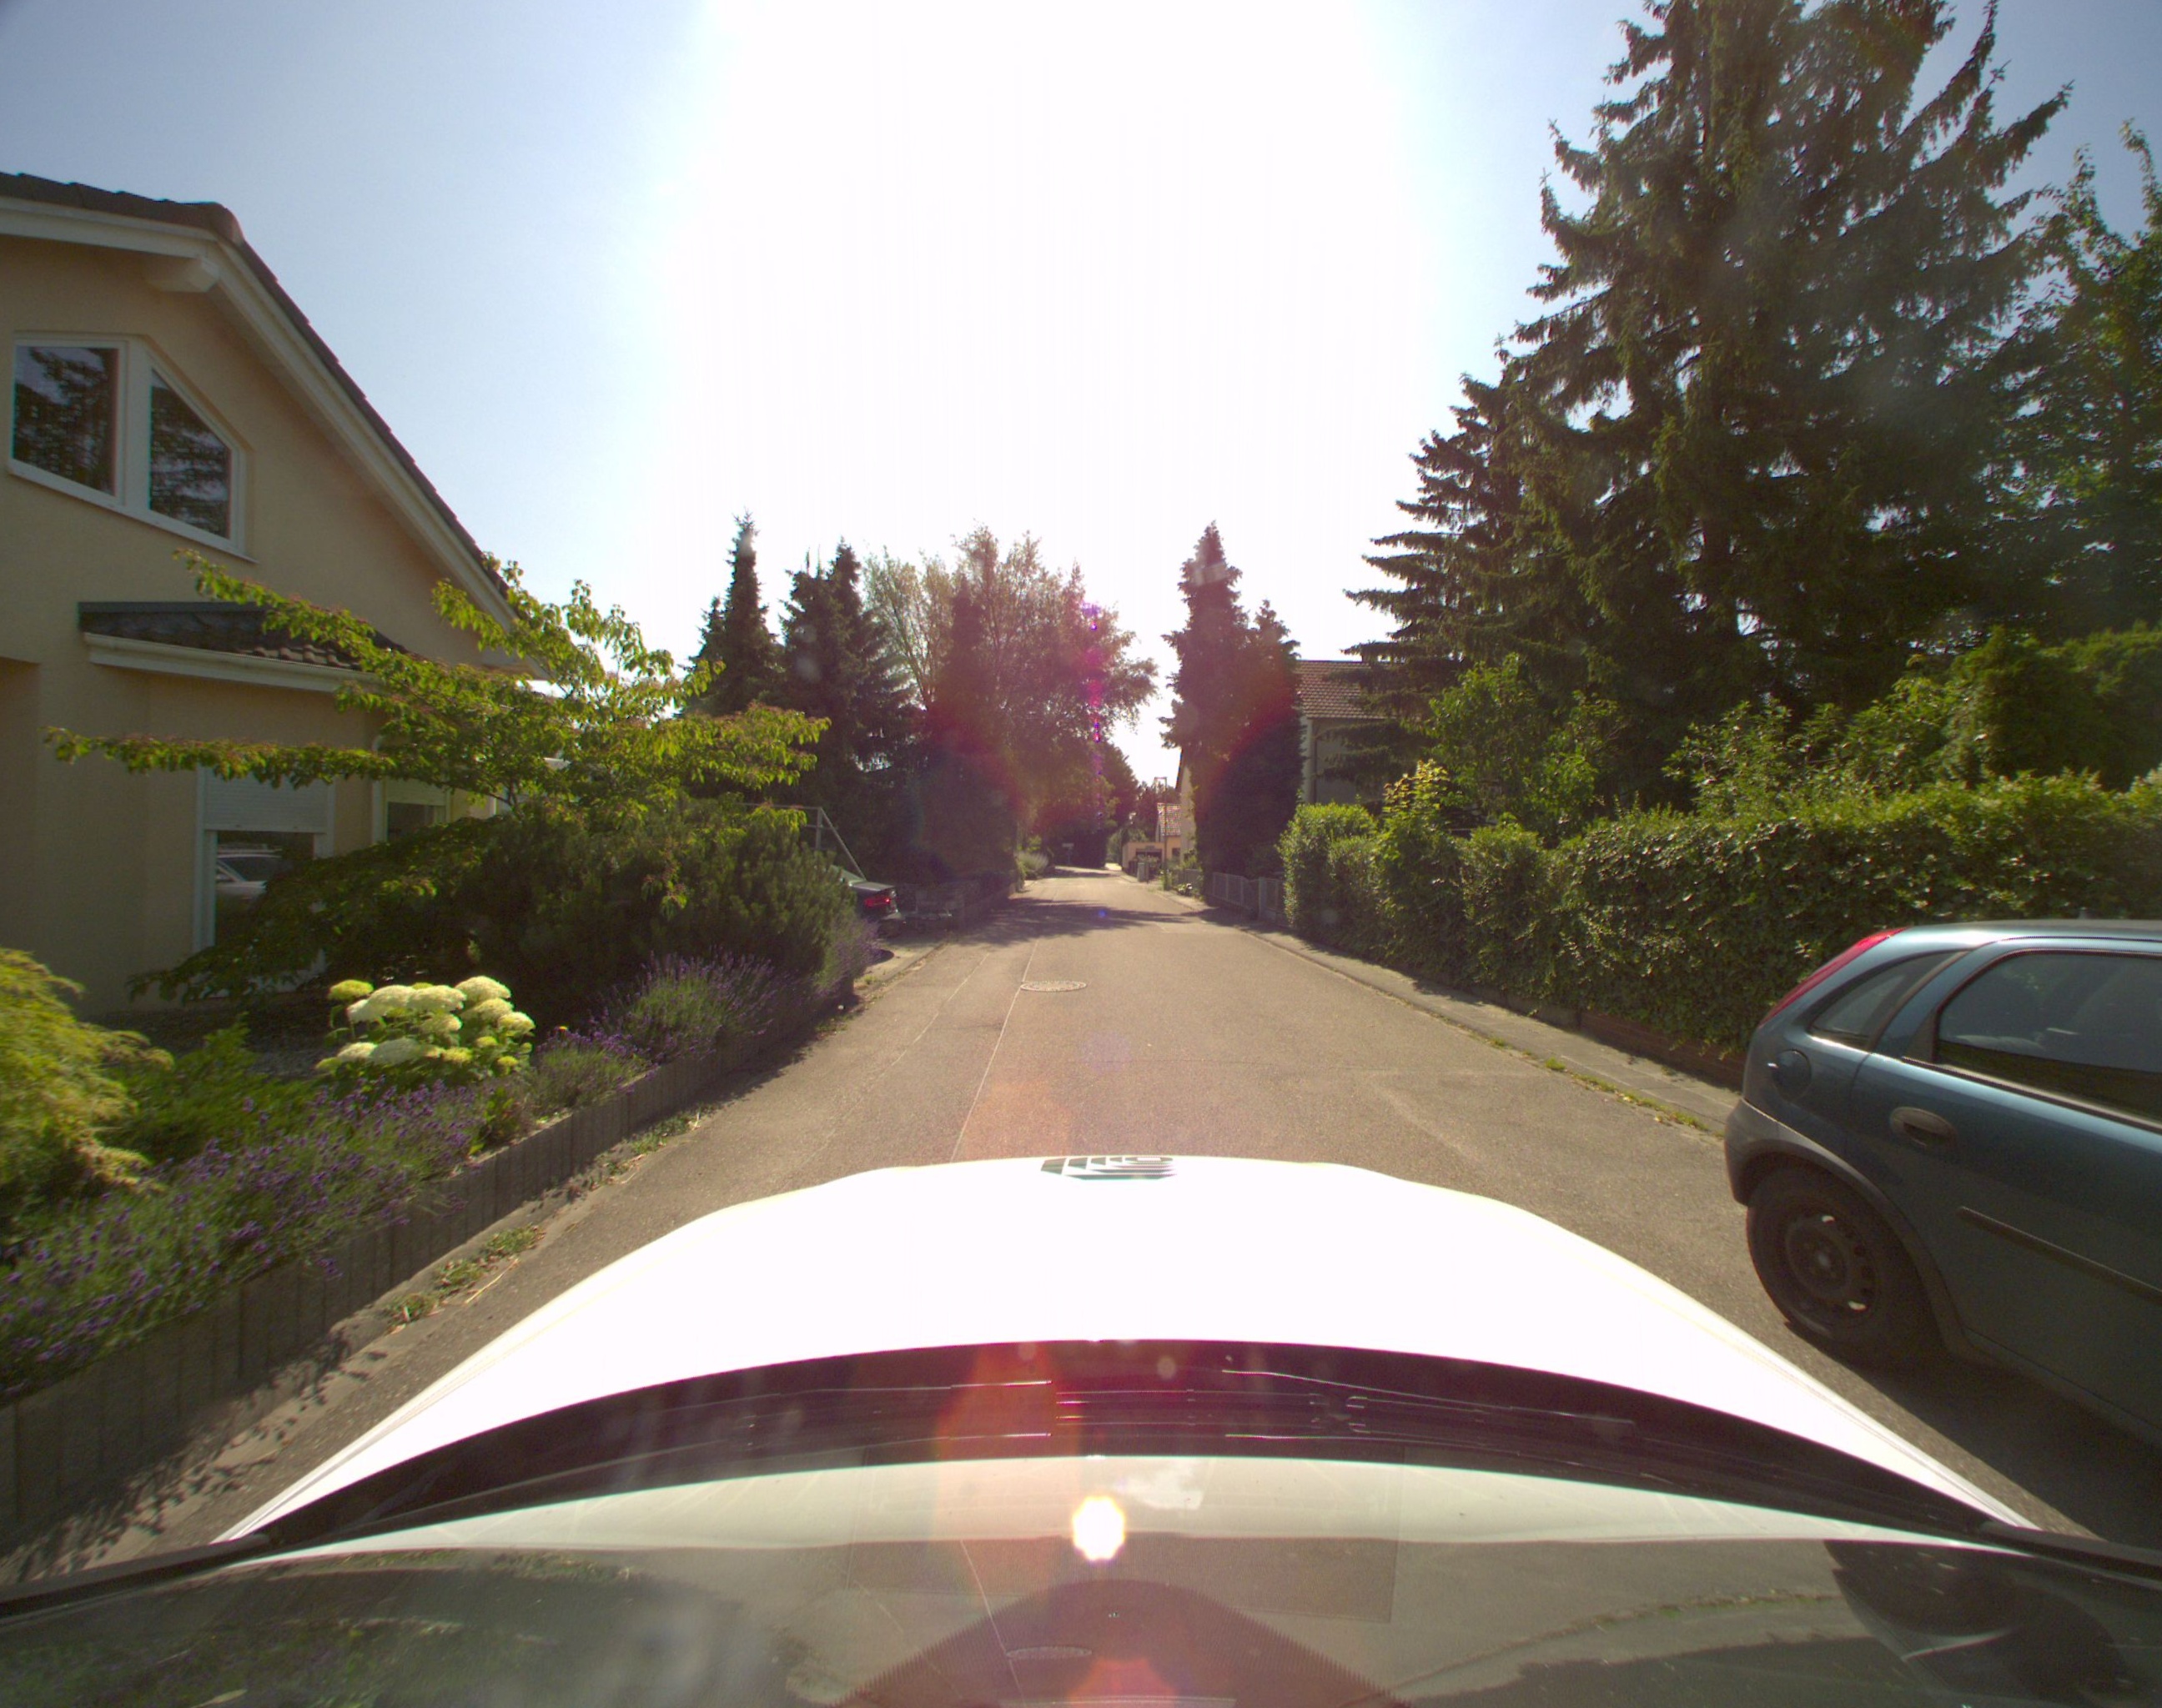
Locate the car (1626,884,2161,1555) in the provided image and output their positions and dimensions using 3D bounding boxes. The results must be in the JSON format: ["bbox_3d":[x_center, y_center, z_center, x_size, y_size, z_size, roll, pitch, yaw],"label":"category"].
[{"bbox_3d":[3.212,0.837,1.463,1.698,1.399,3.997,2,0,-2],"label":"car"}]

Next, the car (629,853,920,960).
[{"bbox_3d":[-4.461,0.741,12.325,3.727,1.446,1.754,1,0,-3],"label":"car"}]
